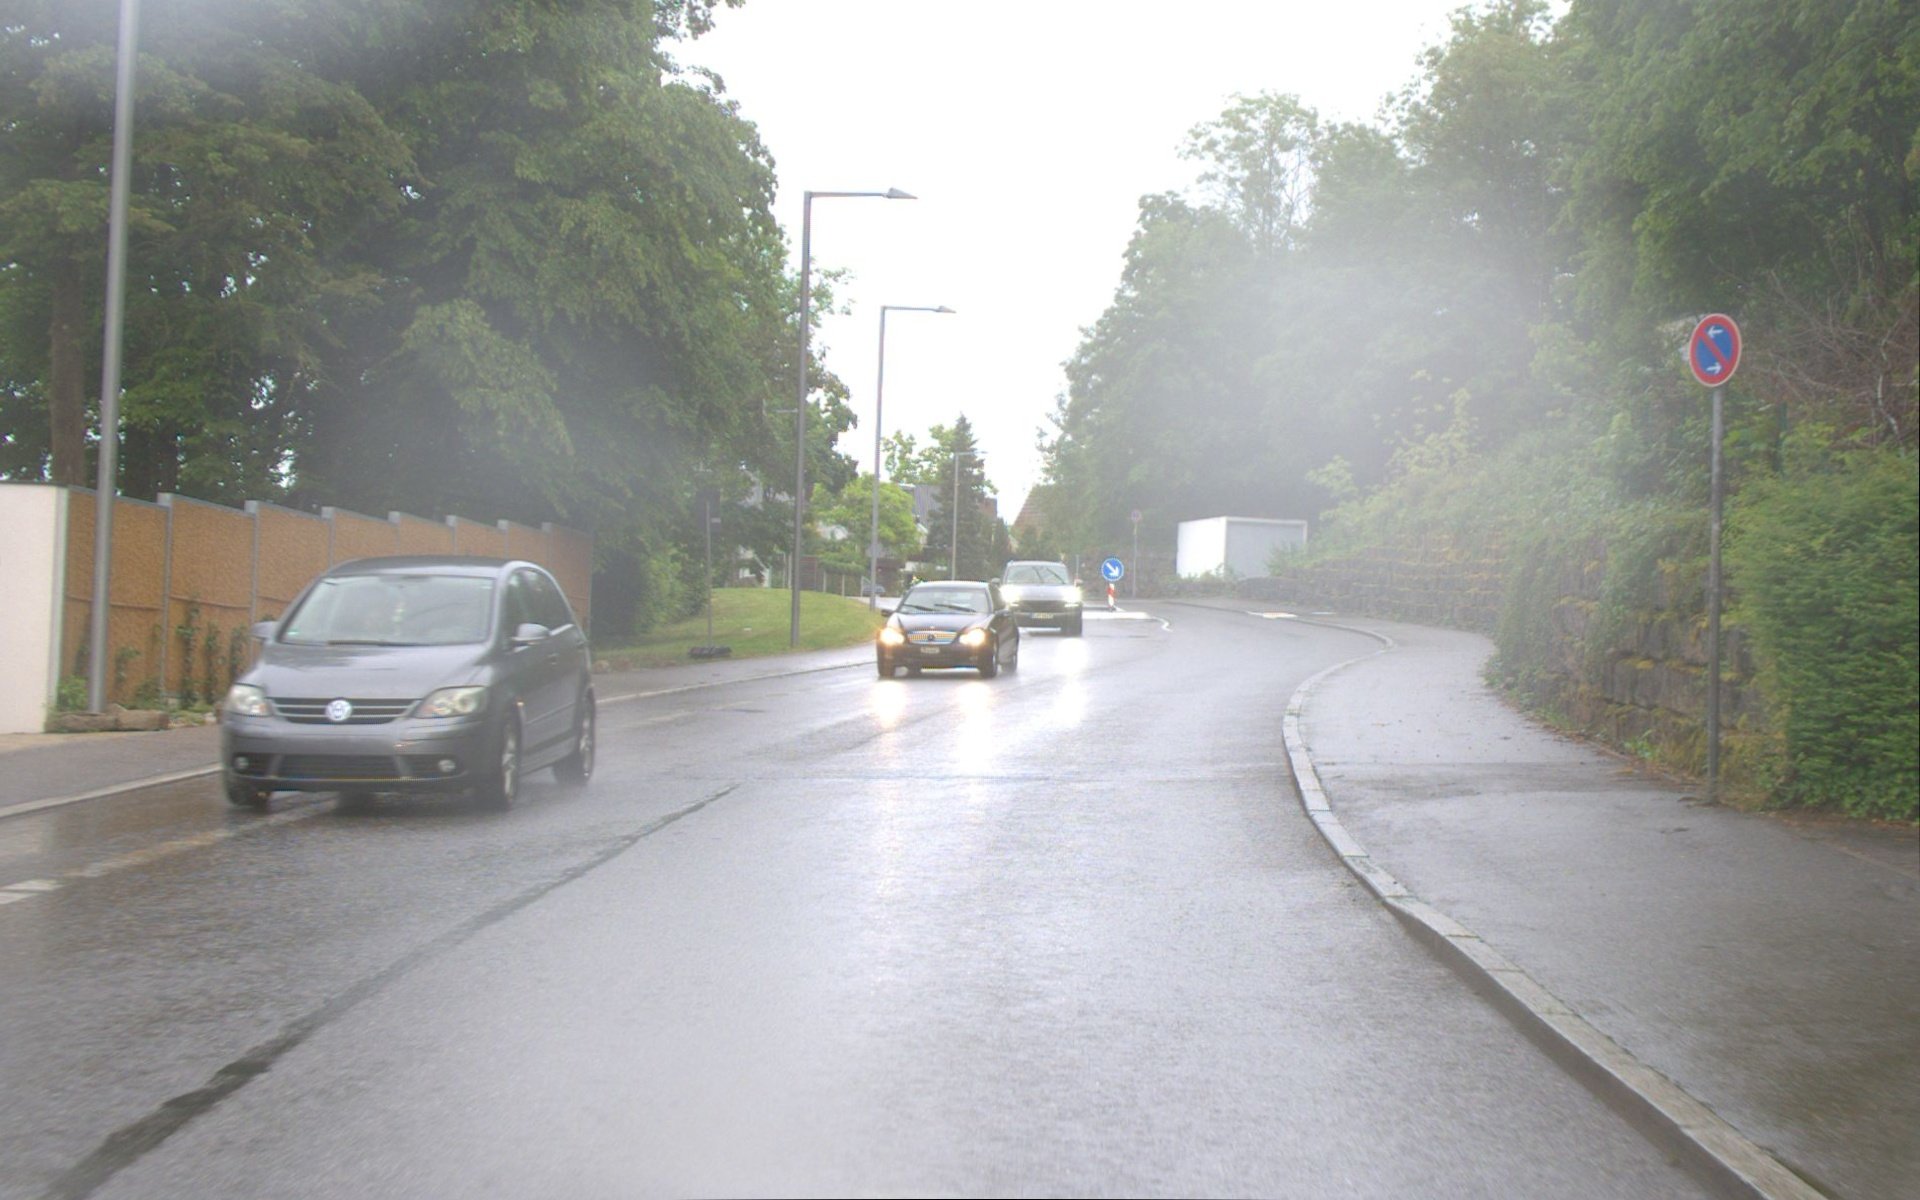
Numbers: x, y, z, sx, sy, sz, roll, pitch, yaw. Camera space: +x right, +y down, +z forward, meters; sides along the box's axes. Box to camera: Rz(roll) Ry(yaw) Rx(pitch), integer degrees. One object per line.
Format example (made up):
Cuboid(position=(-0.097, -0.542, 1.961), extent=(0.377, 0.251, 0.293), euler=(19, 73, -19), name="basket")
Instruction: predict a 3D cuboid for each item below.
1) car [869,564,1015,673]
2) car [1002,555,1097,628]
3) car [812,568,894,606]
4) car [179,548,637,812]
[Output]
Cuboid(position=(-0.227, 0.251, 50.868), extent=(1.834, 1.506, 4.168), euler=(1, 0, 4), name="car")
Cuboid(position=(2.109, -0.201, 80.093), extent=(1.918, 1.642, 4.546), euler=(0, 0, 5), name="car")
Cuboid(position=(-5.543, -0.677, 177.656), extent=(2.008, 1.626, 3.998), euler=(5, -1, -43), name="car")
Cuboid(position=(-3.463, 0.454, 22.487), extent=(1.834, 1.506, 4.616), euler=(1, 0, 5), name="car")
